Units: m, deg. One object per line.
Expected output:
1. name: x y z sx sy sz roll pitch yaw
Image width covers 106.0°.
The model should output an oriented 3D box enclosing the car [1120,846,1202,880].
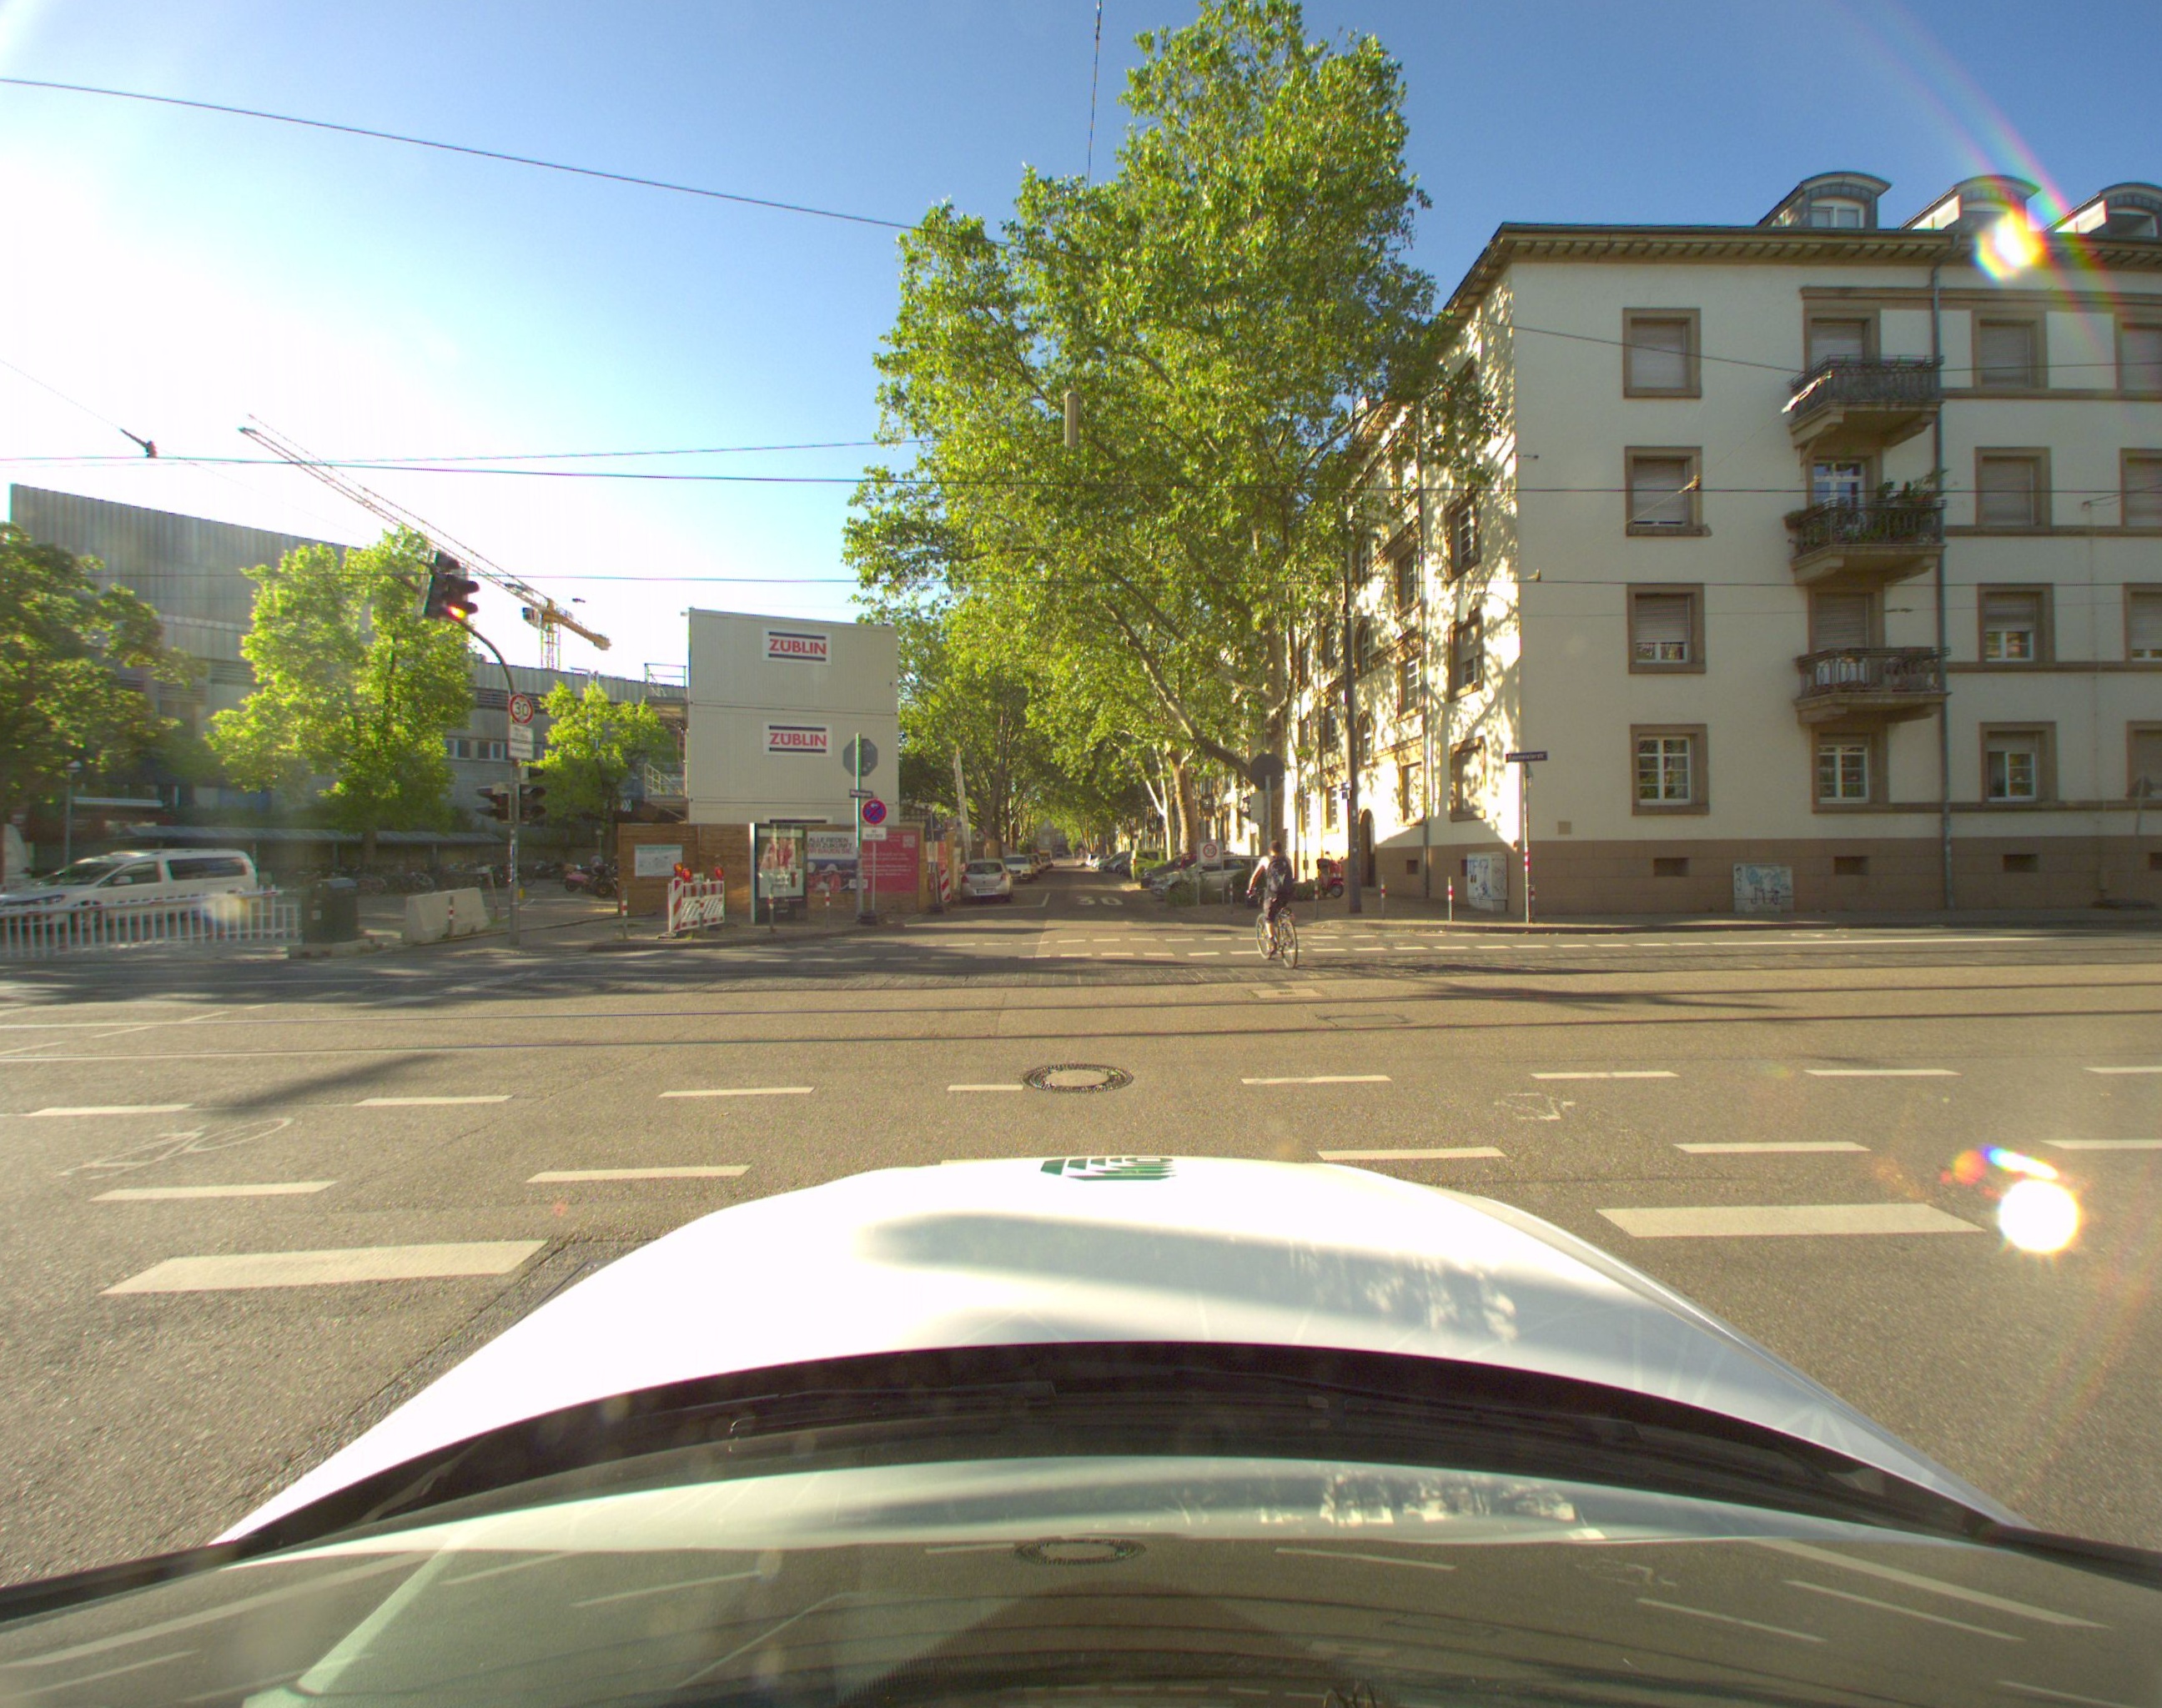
1. car: 4.496 0.495 46.109 4.452 1.836 1.726 -1 0 -3

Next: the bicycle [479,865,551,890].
1. bicycle: -27.085 1.115 38.986 3.062 1.147 0.823 -1 0 7

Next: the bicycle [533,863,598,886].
1. bicycle: -27.495 1.074 43.463 3.062 1.147 0.823 -1 0 7

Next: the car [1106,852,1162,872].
1. car: 4.369 0.644 67.138 4.451 1.571 1.727 -1 0 -3

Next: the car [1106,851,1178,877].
1. car: 3.874 0.603 52.045 4.451 1.571 1.727 -1 0 -3

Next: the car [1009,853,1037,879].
1. car: -3.562 0.708 50.505 1.661 1.562 4.514 -1 0 -3

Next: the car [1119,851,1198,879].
1. car: 4.549 0.647 48.126 4.451 1.571 1.727 -1 0 -3

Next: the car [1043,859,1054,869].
1. car: -5.086 1.587 127.907 1.661 1.562 4.214 -1 0 -3

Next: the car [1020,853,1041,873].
1. car: -4.112 0.722 67.237 1.661 1.562 4.611 -1 0 -3

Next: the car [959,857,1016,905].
1. car: -3.227 0.885 28.679 1.640 1.494 3.996 -3 0 -3

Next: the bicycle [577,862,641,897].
1. bicycle: -18.096 0.971 31.248 2.060 1.257 0.466 -1 1 -39

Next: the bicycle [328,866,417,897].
1. bicycle: -28.078 1.087 32.288 3.062 1.147 0.823 -1 0 7

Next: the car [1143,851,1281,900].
1. car: 4.472 0.717 28.136 4.451 1.571 1.727 -1 0 -3

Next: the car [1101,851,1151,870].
1. car: 4.058 0.588 74.215 4.451 1.571 1.727 -1 0 -3

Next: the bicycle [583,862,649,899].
1. bicycle: -17.175 0.957 30.091 2.060 1.257 0.466 -1 1 -39

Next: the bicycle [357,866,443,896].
1. bicycle: -27.877 1.102 33.350 3.062 1.147 0.823 -1 0 7

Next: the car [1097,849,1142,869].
1. car: 3.943 0.520 84.300 4.451 1.898 1.727 -1 0 -3

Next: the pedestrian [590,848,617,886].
1. pedestrian: -25.366 0.673 43.251 0.796 2.013 0.941 -1 0 9

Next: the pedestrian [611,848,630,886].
1. pedestrian: -24.345 0.675 43.071 0.804 2.013 1.022 -1 0 -25

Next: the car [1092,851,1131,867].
1. car: 3.620 0.599 97.105 4.451 1.898 1.727 -1 0 -3

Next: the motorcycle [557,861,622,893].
1. motorcycle: -20.407 0.933 33.844 2.223 1.257 0.537 -1 1 -39

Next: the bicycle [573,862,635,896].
1. bicycle: -19.111 0.988 32.645 2.060 1.257 0.537 -1 1 -39

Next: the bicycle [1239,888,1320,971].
1. bicycle: 2.818 1.041 11.759 0.687 1.016 1.906 1 0 -1

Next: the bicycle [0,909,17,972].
1. bicycle: -18.665 1.447 13.169 1.910 1.018 0.682 -1 0 -3

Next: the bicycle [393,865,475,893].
1. bicycle: -27.728 1.058 34.913 3.062 1.147 0.823 -1 0 7

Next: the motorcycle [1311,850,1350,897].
1. motorcycle: 7.345 0.546 24.076 0.512 1.332 1.761 -1 0 -3

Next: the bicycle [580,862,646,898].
1. bicycle: -17.485 0.963 30.449 2.060 1.257 0.466 -1 1 -39

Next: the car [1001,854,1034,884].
1. car: -3.483 0.770 44.976 1.661 1.562 3.996 -1 0 -3

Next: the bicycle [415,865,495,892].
1. bicycle: -27.607 1.073 35.944 3.062 1.147 0.823 -1 0 7

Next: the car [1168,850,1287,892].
1. car: 5.882 0.676 33.008 4.451 1.571 1.727 -1 0 -3

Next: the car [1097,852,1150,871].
1. car: 3.726 0.684 71.884 4.451 1.571 1.727 -1 0 -3

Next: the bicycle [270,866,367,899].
1. bicycle: -28.213 1.057 30.145 3.062 1.147 0.823 -1 0 7

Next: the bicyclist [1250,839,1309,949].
1. bicyclist: 2.824 0.559 11.634 0.674 1.513 0.668 1 0 -1

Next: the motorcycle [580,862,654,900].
1. motorcycle: -16.604 0.954 29.163 2.223 1.257 0.537 -1 1 -39

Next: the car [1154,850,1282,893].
1. car: 5.092 0.637 30.613 4.451 1.500 1.727 -1 0 -3

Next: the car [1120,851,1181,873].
1. car: 5.218 0.576 61.488 4.451 1.571 1.727 -1 0 -3

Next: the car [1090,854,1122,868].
1. car: 3.576 0.947 116.706 4.451 1.898 1.727 -1 0 -3

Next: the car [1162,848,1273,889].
1. car: 5.831 0.618 35.094 4.451 1.671 1.727 -1 0 -3

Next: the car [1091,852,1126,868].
1. car: 3.520 0.749 104.531 4.451 1.898 1.727 -1 0 -3

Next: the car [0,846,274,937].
1. car: -24.128 0.822 20.703 1.995 1.892 4.954 0 2 4

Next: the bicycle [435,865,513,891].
1. bicycle: -27.447 1.085 36.830 3.062 1.147 0.823 -1 0 7

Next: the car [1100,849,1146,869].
1. car: 4.177 0.461 81.540 4.451 1.898 1.727 -1 0 -3

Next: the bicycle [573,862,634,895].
1. bicycle: -19.429 0.995 33.143 2.060 1.257 0.537 -1 1 -39

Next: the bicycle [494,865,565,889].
1. bicycle: -27.016 1.128 39.921 3.062 1.147 0.823 -1 0 7

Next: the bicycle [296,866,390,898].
1. bicycle: -28.207 1.071 31.142 3.062 1.147 0.823 -1 0 7

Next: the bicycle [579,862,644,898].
1. bicycle: -17.779 0.966 30.852 2.060 1.257 0.466 -1 1 -39

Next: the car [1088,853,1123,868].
1. car: 3.218 0.808 107.567 4.451 1.898 1.727 -1 0 -3

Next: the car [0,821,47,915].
1. car: -30.198 0.491 20.308 1.990 2.530 5.375 -1 3 -4

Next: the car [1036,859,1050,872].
1. car: -4.607 1.362 98.440 1.661 1.562 4.214 -1 0 -3

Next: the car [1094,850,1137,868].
1. car: 3.690 0.538 87.161 4.451 1.898 1.727 -1 0 -3

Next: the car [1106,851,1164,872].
1. car: 4.288 0.622 64.661 4.451 1.571 1.727 -1 0 -3

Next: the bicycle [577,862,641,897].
1. bicycle: -18.372 0.977 31.722 2.060 1.257 0.537 -1 1 -39
